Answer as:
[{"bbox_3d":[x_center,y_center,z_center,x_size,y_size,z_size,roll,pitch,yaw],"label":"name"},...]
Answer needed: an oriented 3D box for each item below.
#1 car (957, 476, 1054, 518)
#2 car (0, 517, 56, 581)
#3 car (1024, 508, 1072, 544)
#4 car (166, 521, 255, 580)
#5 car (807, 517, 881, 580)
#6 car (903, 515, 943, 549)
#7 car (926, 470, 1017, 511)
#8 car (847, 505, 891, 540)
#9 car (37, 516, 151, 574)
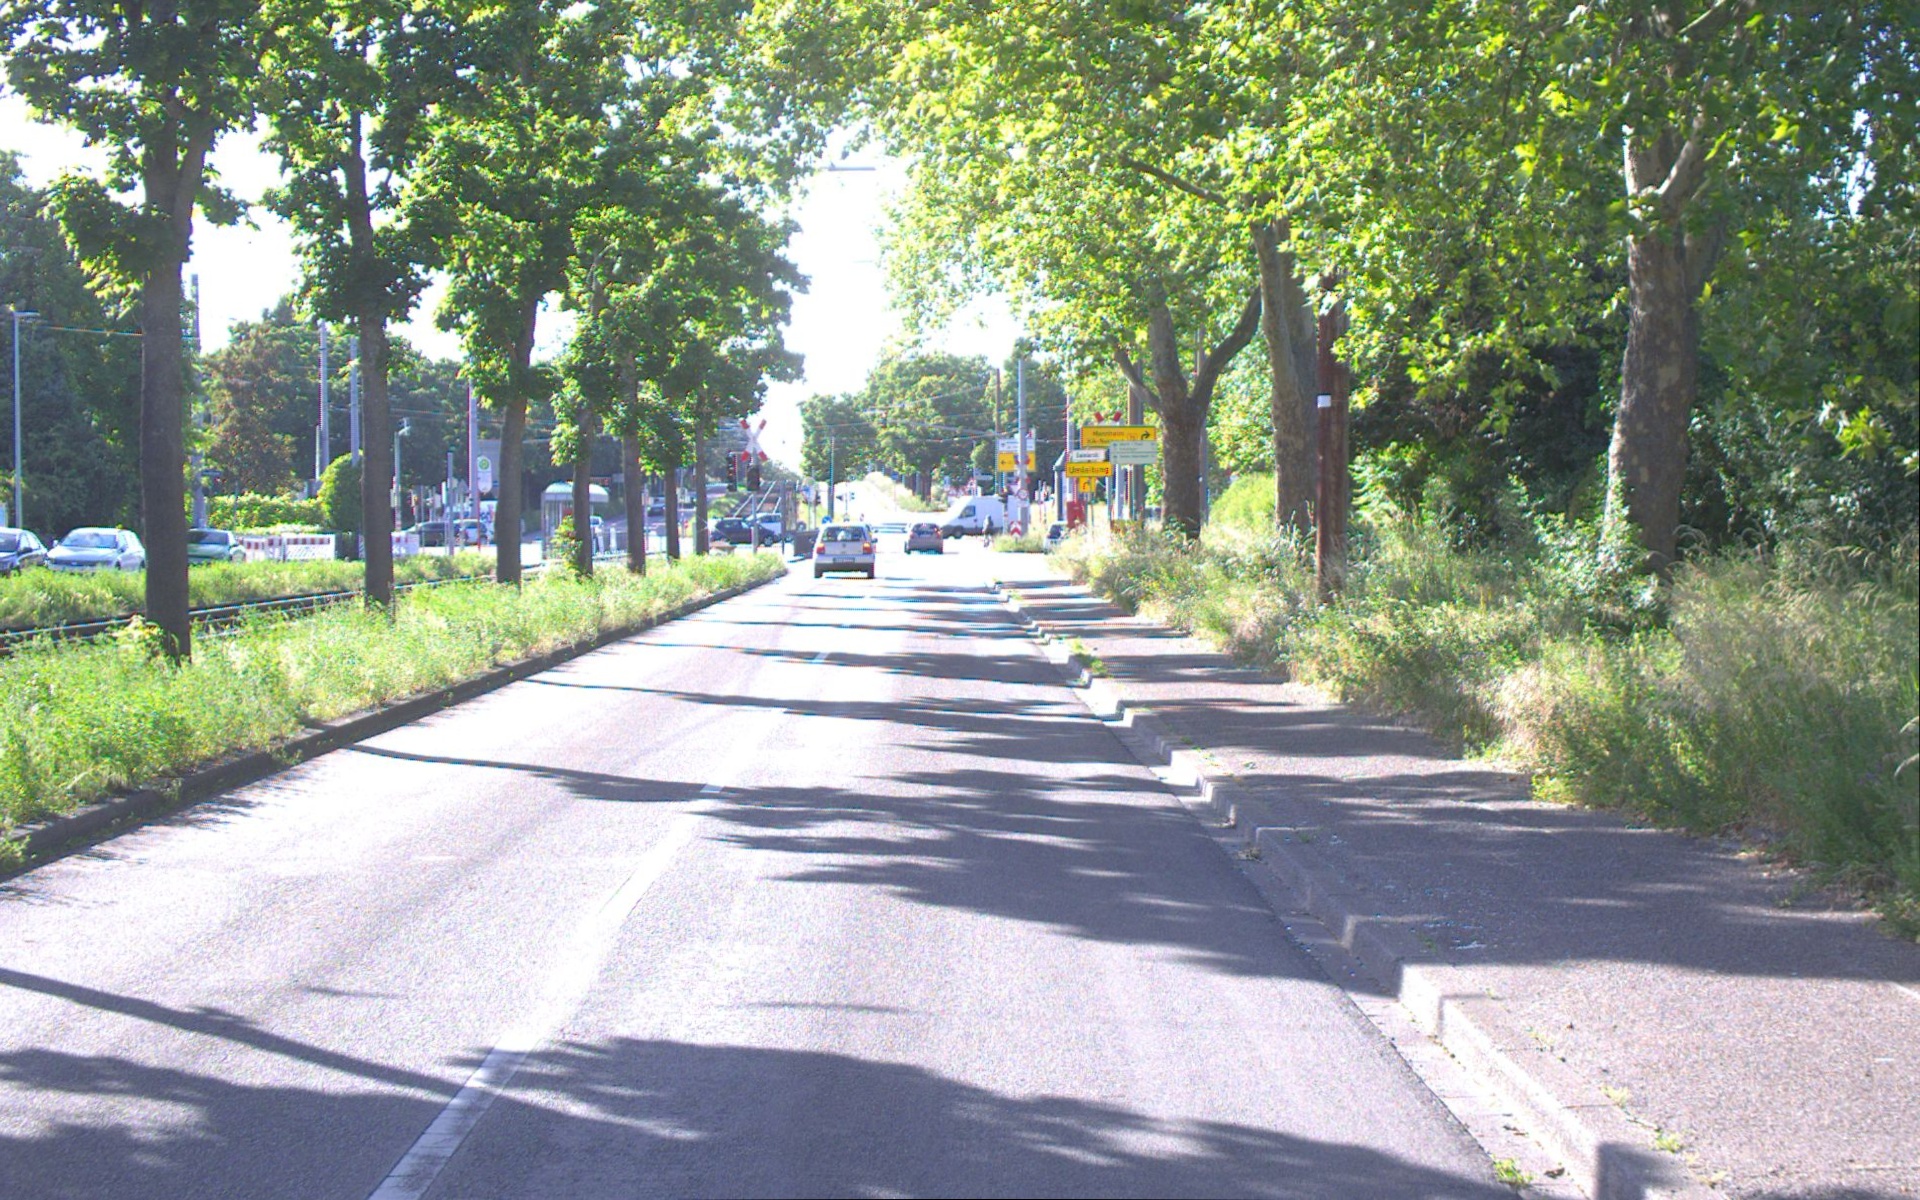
[{"bbox_3d":[2.630,-5.917,197.230,5.146,2.267,2.001,1,1,-24],"label":"car"},{"bbox_3d":[-22.170,-1.198,78.797,1.860,1.408,4.159,1,1,-1],"label":"car"},{"bbox_3d":[4.049,-3.437,158.806,1.993,1.598,4.474,1,1,-1],"label":"car"},{"bbox_3d":[-22.608,-1.506,103.838,1.778,1.701,4.228,1,1,-1],"label":"car"},{"bbox_3d":[-3.052,-1.381,91.130,1.860,1.595,4.228,1,1,-1],"label":"car"},{"bbox_3d":[-1.728,-3.154,158.937,1.791,1.553,4.228,1,1,-1],"label":"car"},{"bbox_3d":[0.706,-6.561,206.306,5.244,2.346,1.866,0,1,-32],"label":"car"},{"bbox_3d":[-4.334,-3.685,164.143,1.993,1.598,4.474,1,1,-1],"label":"car"},{"bbox_3d":[-22.294,-1.440,88.674,1.860,1.426,4.462,1,1,-1],"label":"car"}]
